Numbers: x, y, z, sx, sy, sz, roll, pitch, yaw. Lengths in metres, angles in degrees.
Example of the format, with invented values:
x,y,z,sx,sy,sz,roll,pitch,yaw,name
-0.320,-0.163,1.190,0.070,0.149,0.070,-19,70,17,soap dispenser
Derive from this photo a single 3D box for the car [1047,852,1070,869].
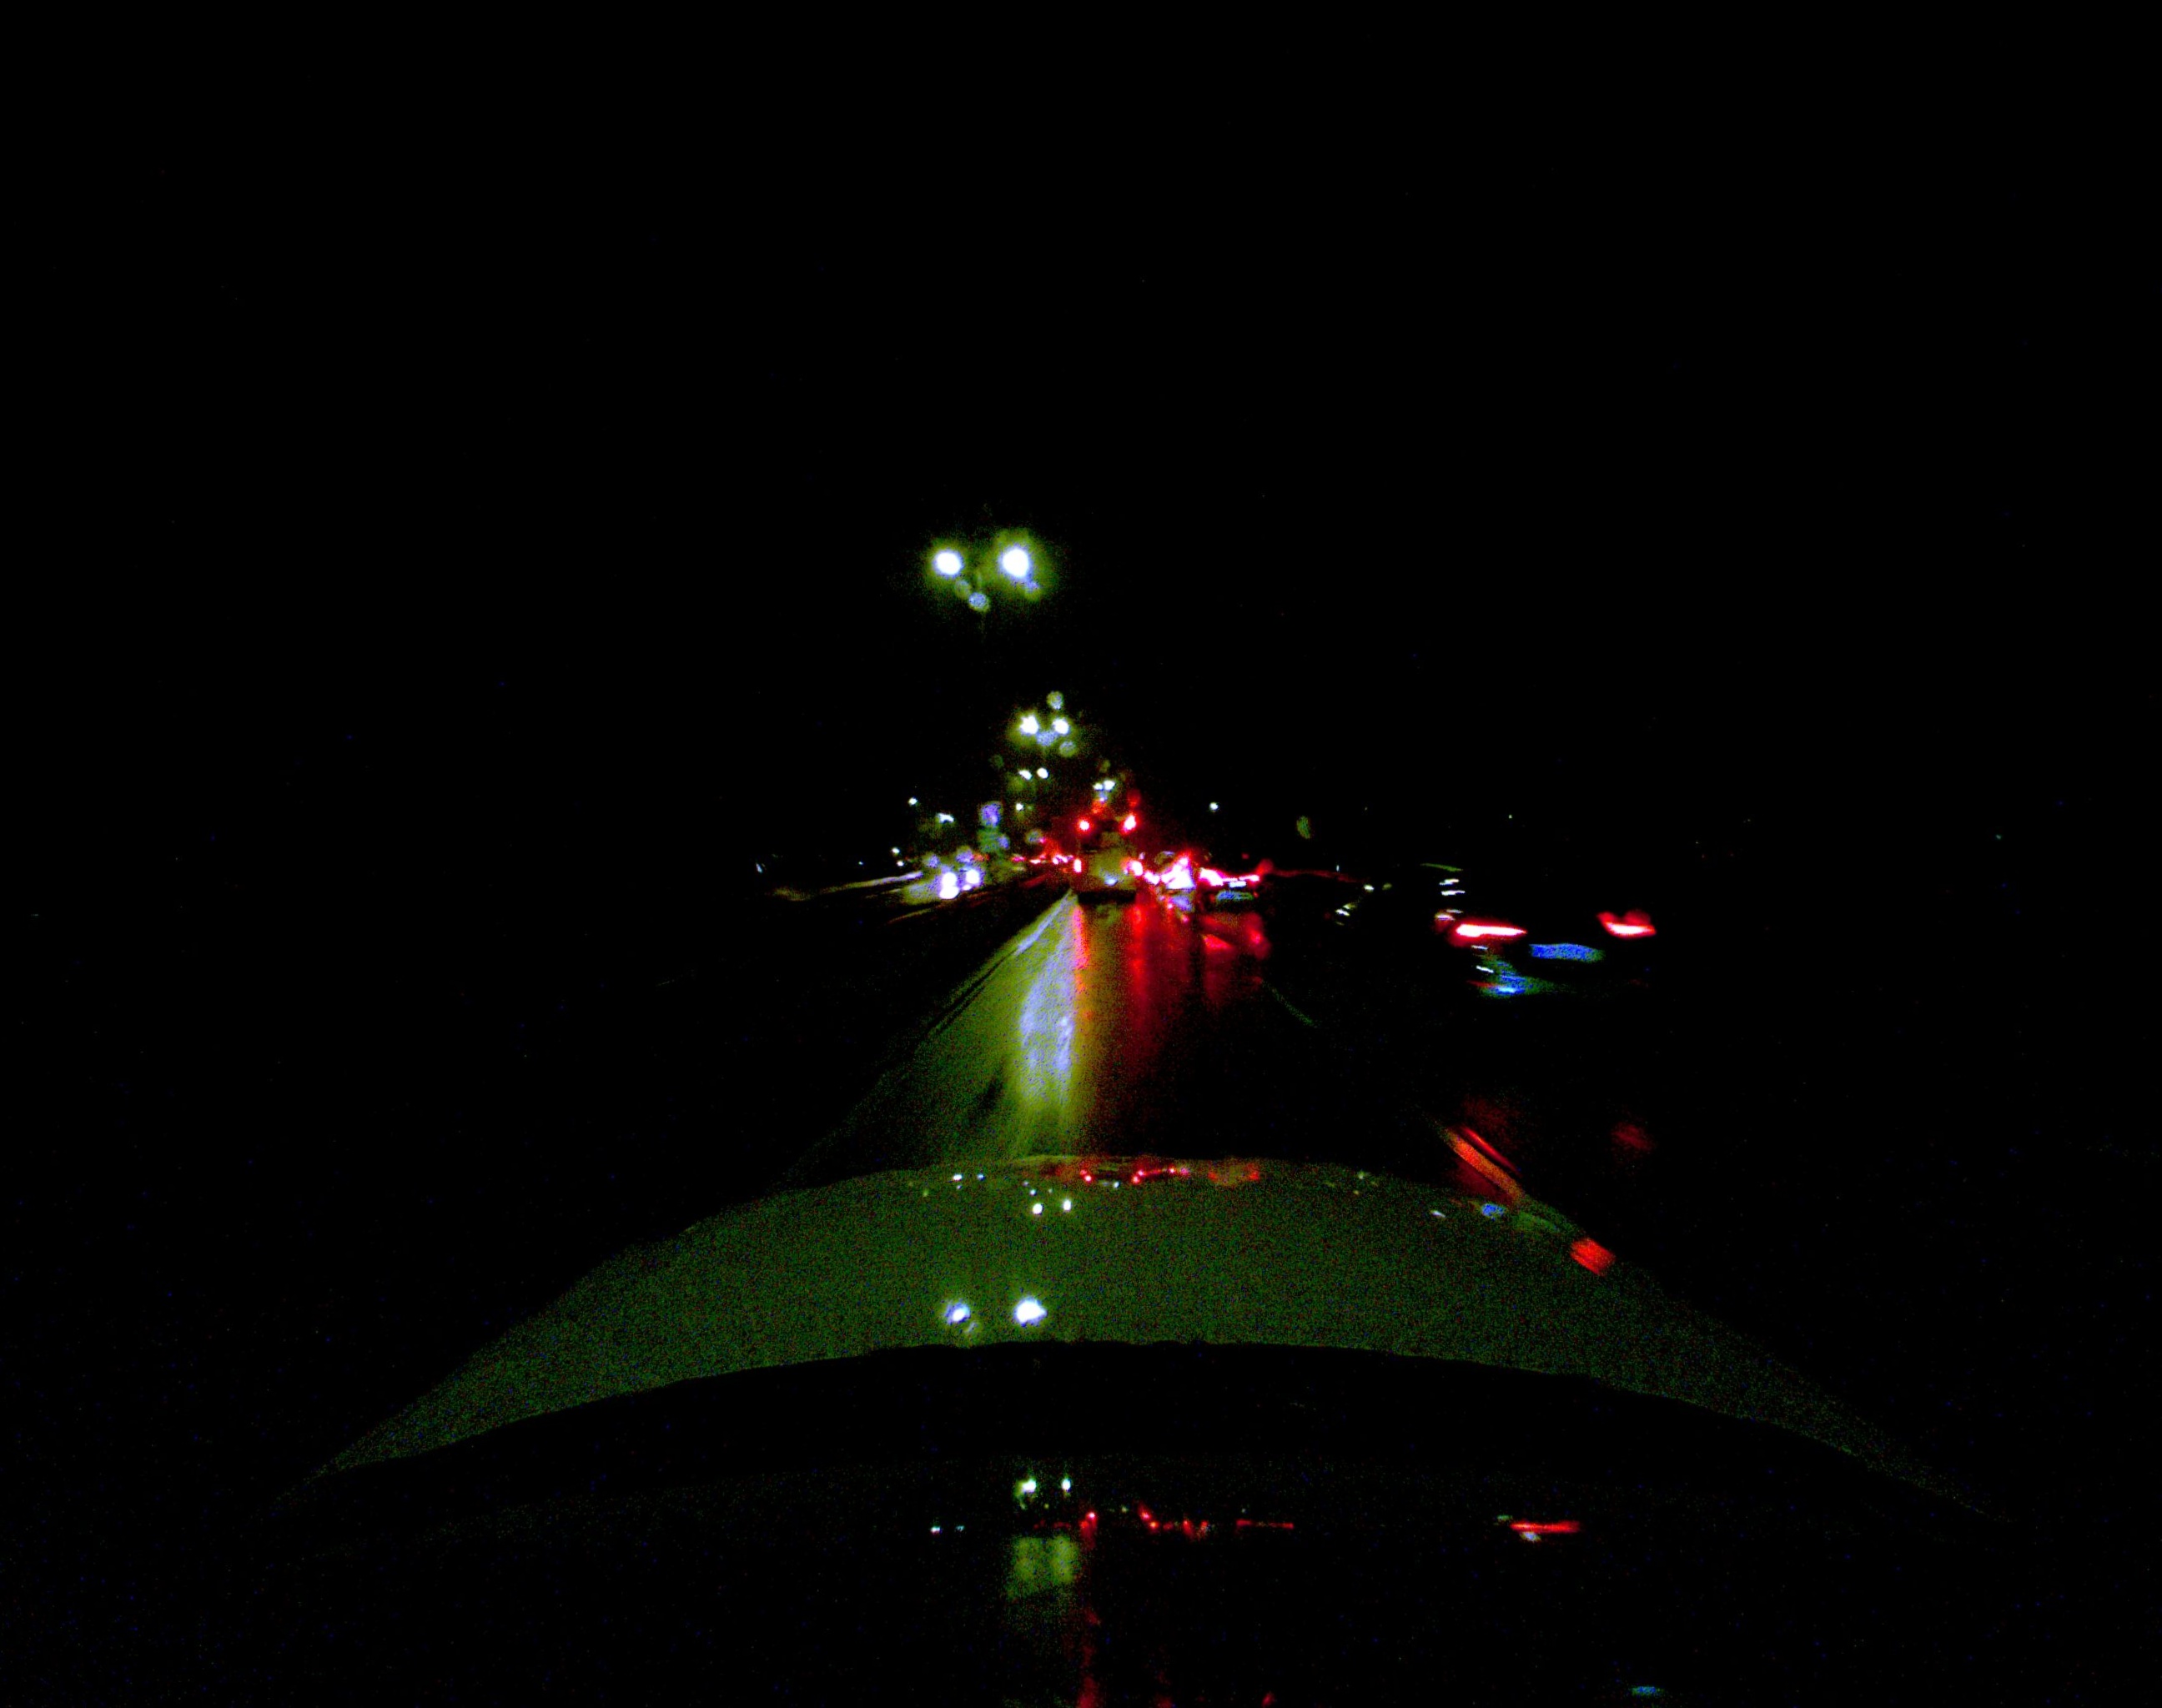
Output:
x,y,z,sx,sy,sz,roll,pitch,yaw,name
-2.718,0.818,98.151,1.995,2.014,3.982,0,-1,-13,car

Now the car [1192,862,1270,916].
x,y,z,sx,sy,sz,roll,pitch,yaw,name
4.701,1.044,25.968,1.734,1.565,3.775,0,0,-1,car

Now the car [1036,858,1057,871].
x,y,z,sx,sy,sz,roll,pitch,yaw,name
-4.507,1.342,106.746,1.757,1.631,3.598,0,-1,-20,car

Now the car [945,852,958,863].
x,y,z,sx,sy,sz,roll,pitch,yaw,name
-23.593,0.594,148.276,2.122,2.014,3.985,0,-1,-11,car

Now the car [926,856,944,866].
x,y,z,sx,sy,sz,roll,pitch,yaw,name
-25.660,1.232,142.853,2.005,1.686,3.963,1,0,-29,car

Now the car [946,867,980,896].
x,y,z,sx,sy,sz,roll,pitch,yaw,name
-7.160,1.646,49.773,1.617,1.651,3.995,-2,-1,-3,car

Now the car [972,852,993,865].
x,y,z,sx,sy,sz,roll,pitch,yaw,name
-15.549,0.744,128.814,2.006,2.014,3.962,1,-1,-29,car

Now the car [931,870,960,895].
x,y,z,sx,sy,sz,roll,pitch,yaw,name
-11.310,2.320,68.290,1.990,2.014,3.994,0,-1,-4,car

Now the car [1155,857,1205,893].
x,y,z,sx,sy,sz,roll,pitch,yaw,name
4.713,0.973,39.236,1.814,1.590,3.775,-2,0,-1,car

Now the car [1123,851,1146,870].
x,y,z,sx,sy,sz,roll,pitch,yaw,name
4.647,0.568,71.050,1.773,1.543,3.874,0,0,0,car

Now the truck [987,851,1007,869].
x,y,z,sx,sy,sz,roll,pitch,yaw,name
-11.943,0.816,115.878,1.861,2.392,4.751,-3,3,-18,truck

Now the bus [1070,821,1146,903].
x,y,z,sx,sy,sz,roll,pitch,yaw,name
1.039,0.325,34.705,2.806,3.024,8.686,-1,0,0,bus

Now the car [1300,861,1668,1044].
x,y,z,sx,sy,sz,roll,pitch,yaw,name
3.885,0.813,8.925,1.726,1.449,4.725,0,0,0,car

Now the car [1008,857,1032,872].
x,y,z,sx,sy,sz,roll,pitch,yaw,name
-8.638,1.505,115.312,2.222,2.014,3.968,-1,0,-24,car

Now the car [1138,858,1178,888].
x,y,z,sx,sy,sz,roll,pitch,yaw,name
4.388,1.070,46.700,1.814,1.590,3.775,-2,0,-1,car
